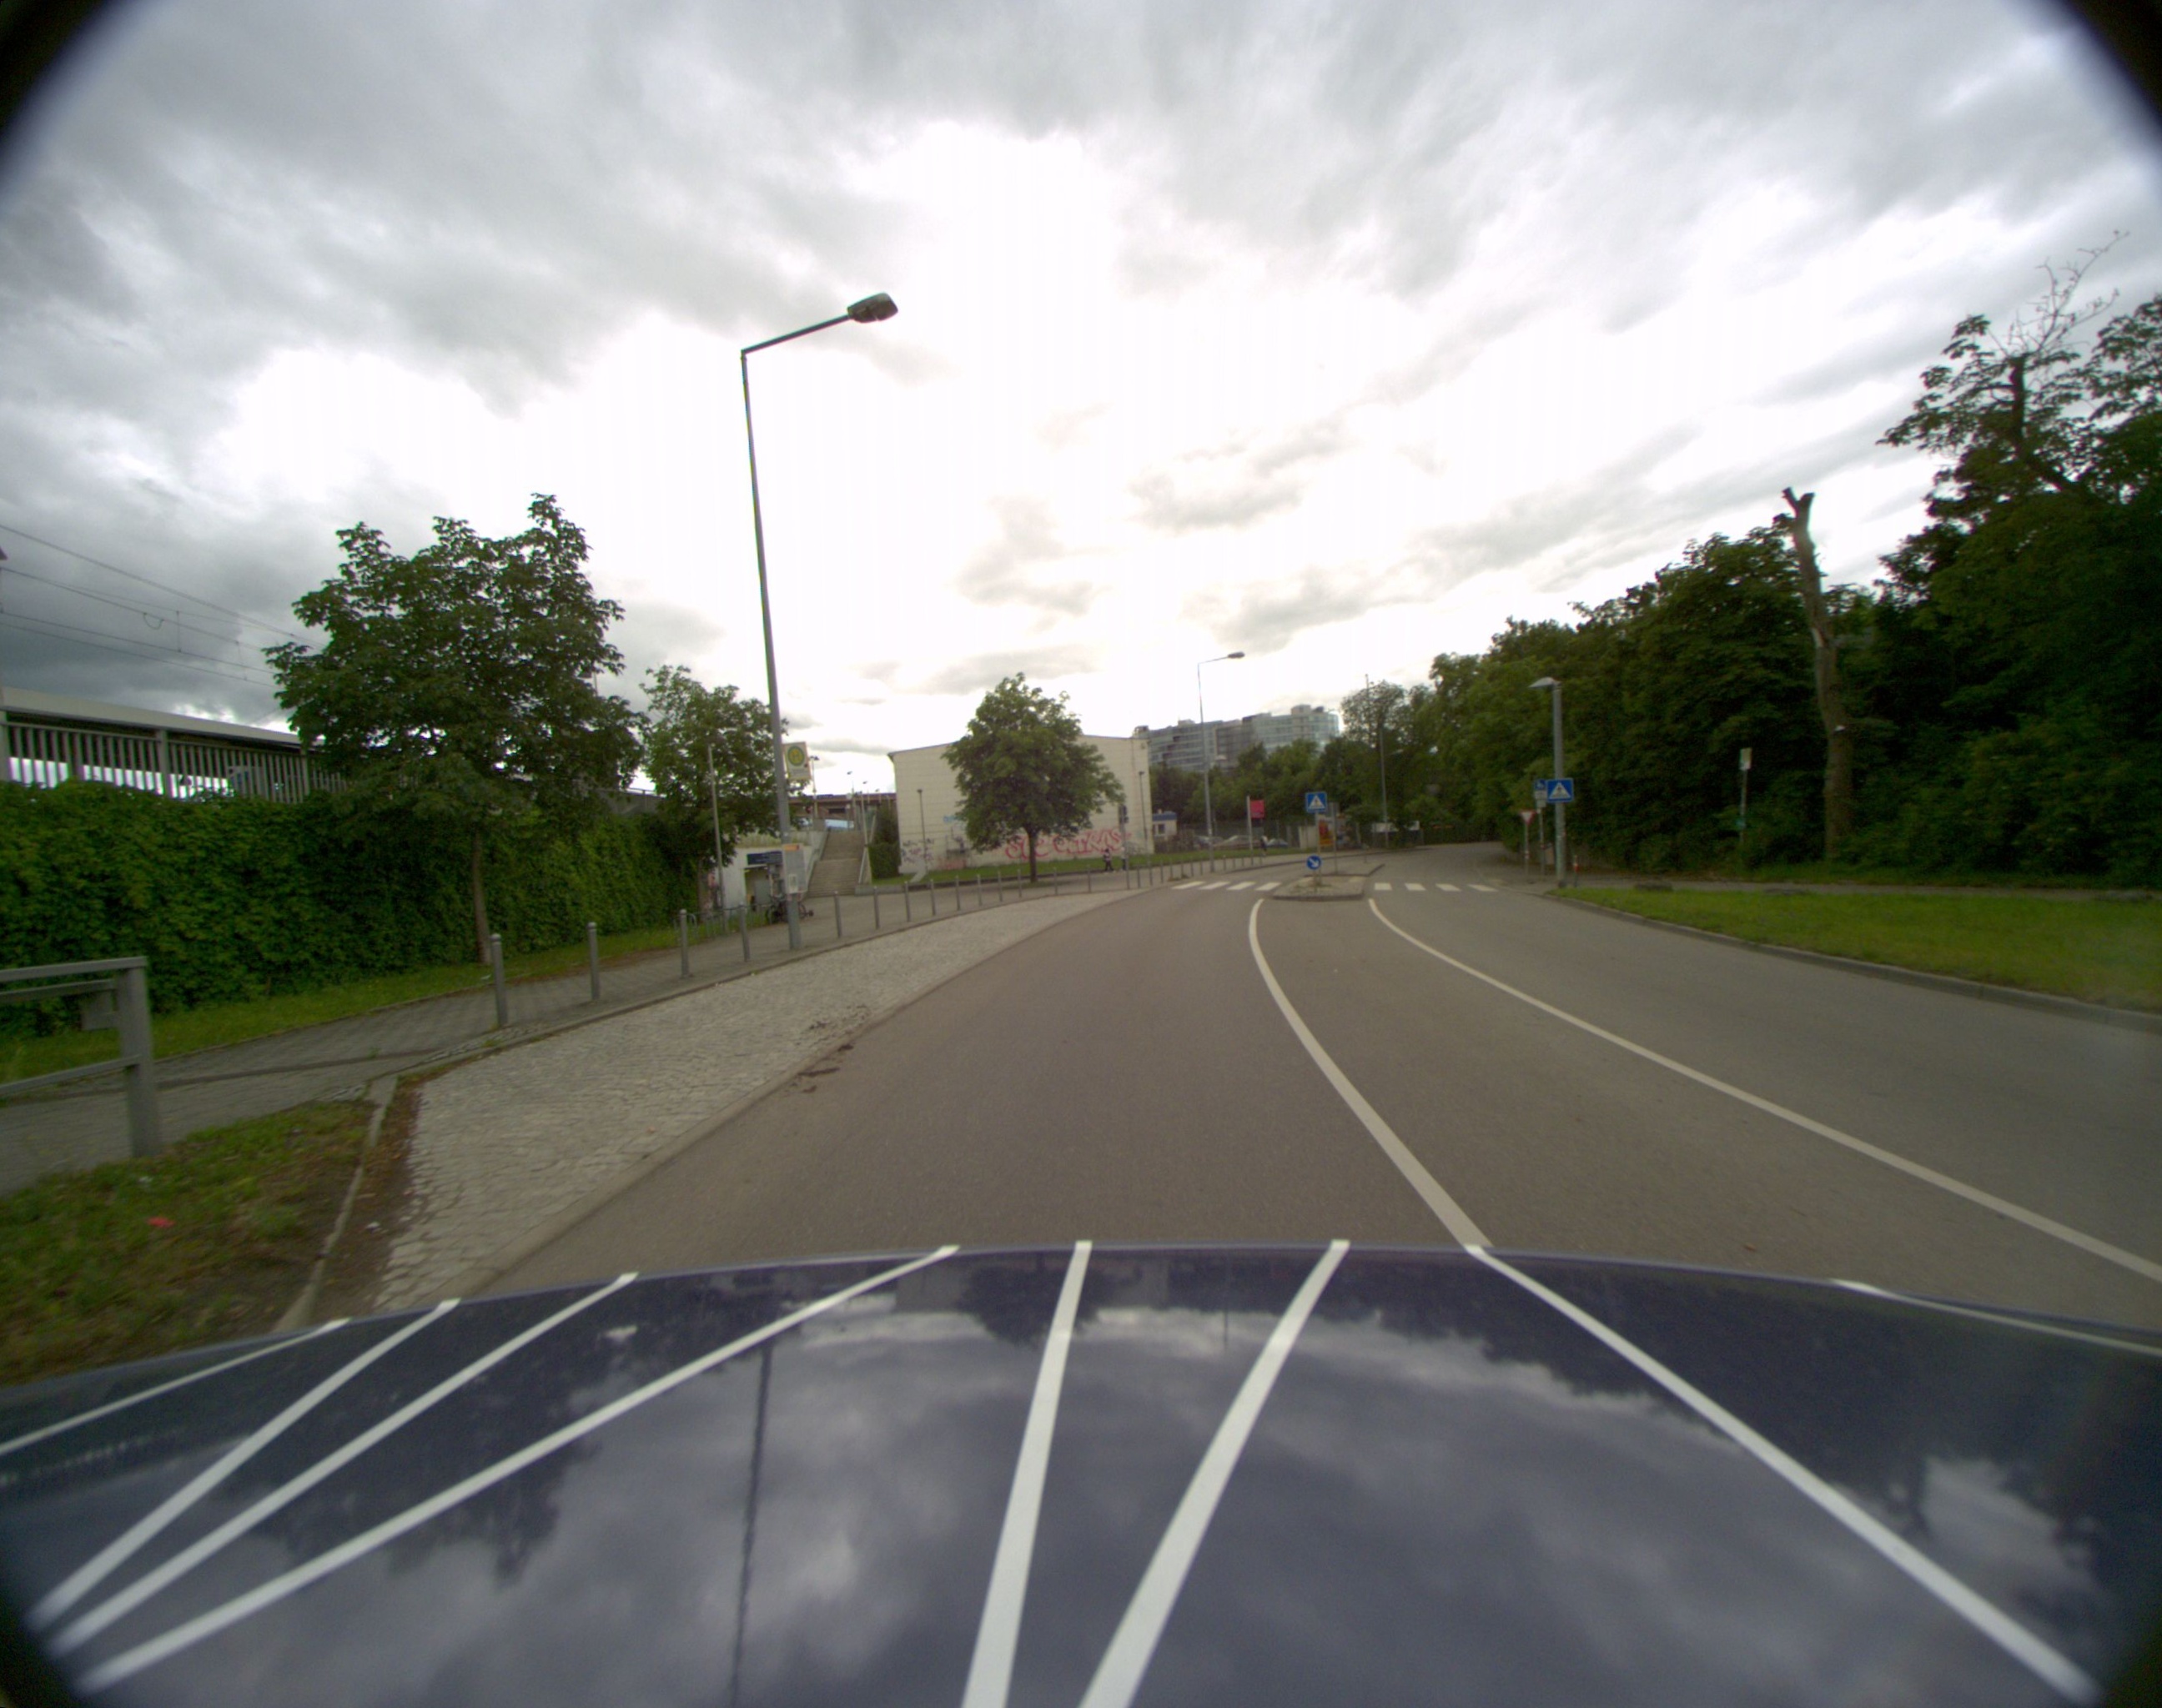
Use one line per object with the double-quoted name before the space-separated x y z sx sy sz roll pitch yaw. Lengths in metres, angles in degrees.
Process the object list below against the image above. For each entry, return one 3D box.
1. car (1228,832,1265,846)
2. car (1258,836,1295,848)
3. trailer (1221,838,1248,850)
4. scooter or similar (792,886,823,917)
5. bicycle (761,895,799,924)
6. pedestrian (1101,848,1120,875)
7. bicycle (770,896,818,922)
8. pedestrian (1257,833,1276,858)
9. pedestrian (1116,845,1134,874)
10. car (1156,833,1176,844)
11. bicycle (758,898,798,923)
"car" 18.932 -1.698 86.769 3.813 1.523 1.563 -1 3 -14
"car" 20.372 -1.266 79.214 3.372 1.245 1.469 -1 2 -14
"trailer" 15.747 -0.999 78.087 1.849 1.131 2.636 -3 1 -9
"scooter or similar" -11.545 2.009 32.045 1.188 1.199 0.469 -5 1 30
"bicycle" -11.090 2.046 27.977 1.489 0.984 0.695 -5 0 44
"pedestrian" 1.804 0.444 46.959 0.802 1.575 0.800 -5 3 -24
"bicycle" -11.503 2.193 30.414 1.968 0.860 0.512 -7 -1 27
"pedestrian" 13.157 -0.591 53.858 0.941 1.675 0.849 -5 4 -27
"pedestrian" 2.668 0.347 46.118 0.749 1.693 0.815 -5 3 -24
"car" 10.568 -1.945 94.922 1.338 1.324 3.306 -2 1 -15
"bicycle" -11.579 2.167 28.992 1.577 0.849 0.464 -6 0 30
